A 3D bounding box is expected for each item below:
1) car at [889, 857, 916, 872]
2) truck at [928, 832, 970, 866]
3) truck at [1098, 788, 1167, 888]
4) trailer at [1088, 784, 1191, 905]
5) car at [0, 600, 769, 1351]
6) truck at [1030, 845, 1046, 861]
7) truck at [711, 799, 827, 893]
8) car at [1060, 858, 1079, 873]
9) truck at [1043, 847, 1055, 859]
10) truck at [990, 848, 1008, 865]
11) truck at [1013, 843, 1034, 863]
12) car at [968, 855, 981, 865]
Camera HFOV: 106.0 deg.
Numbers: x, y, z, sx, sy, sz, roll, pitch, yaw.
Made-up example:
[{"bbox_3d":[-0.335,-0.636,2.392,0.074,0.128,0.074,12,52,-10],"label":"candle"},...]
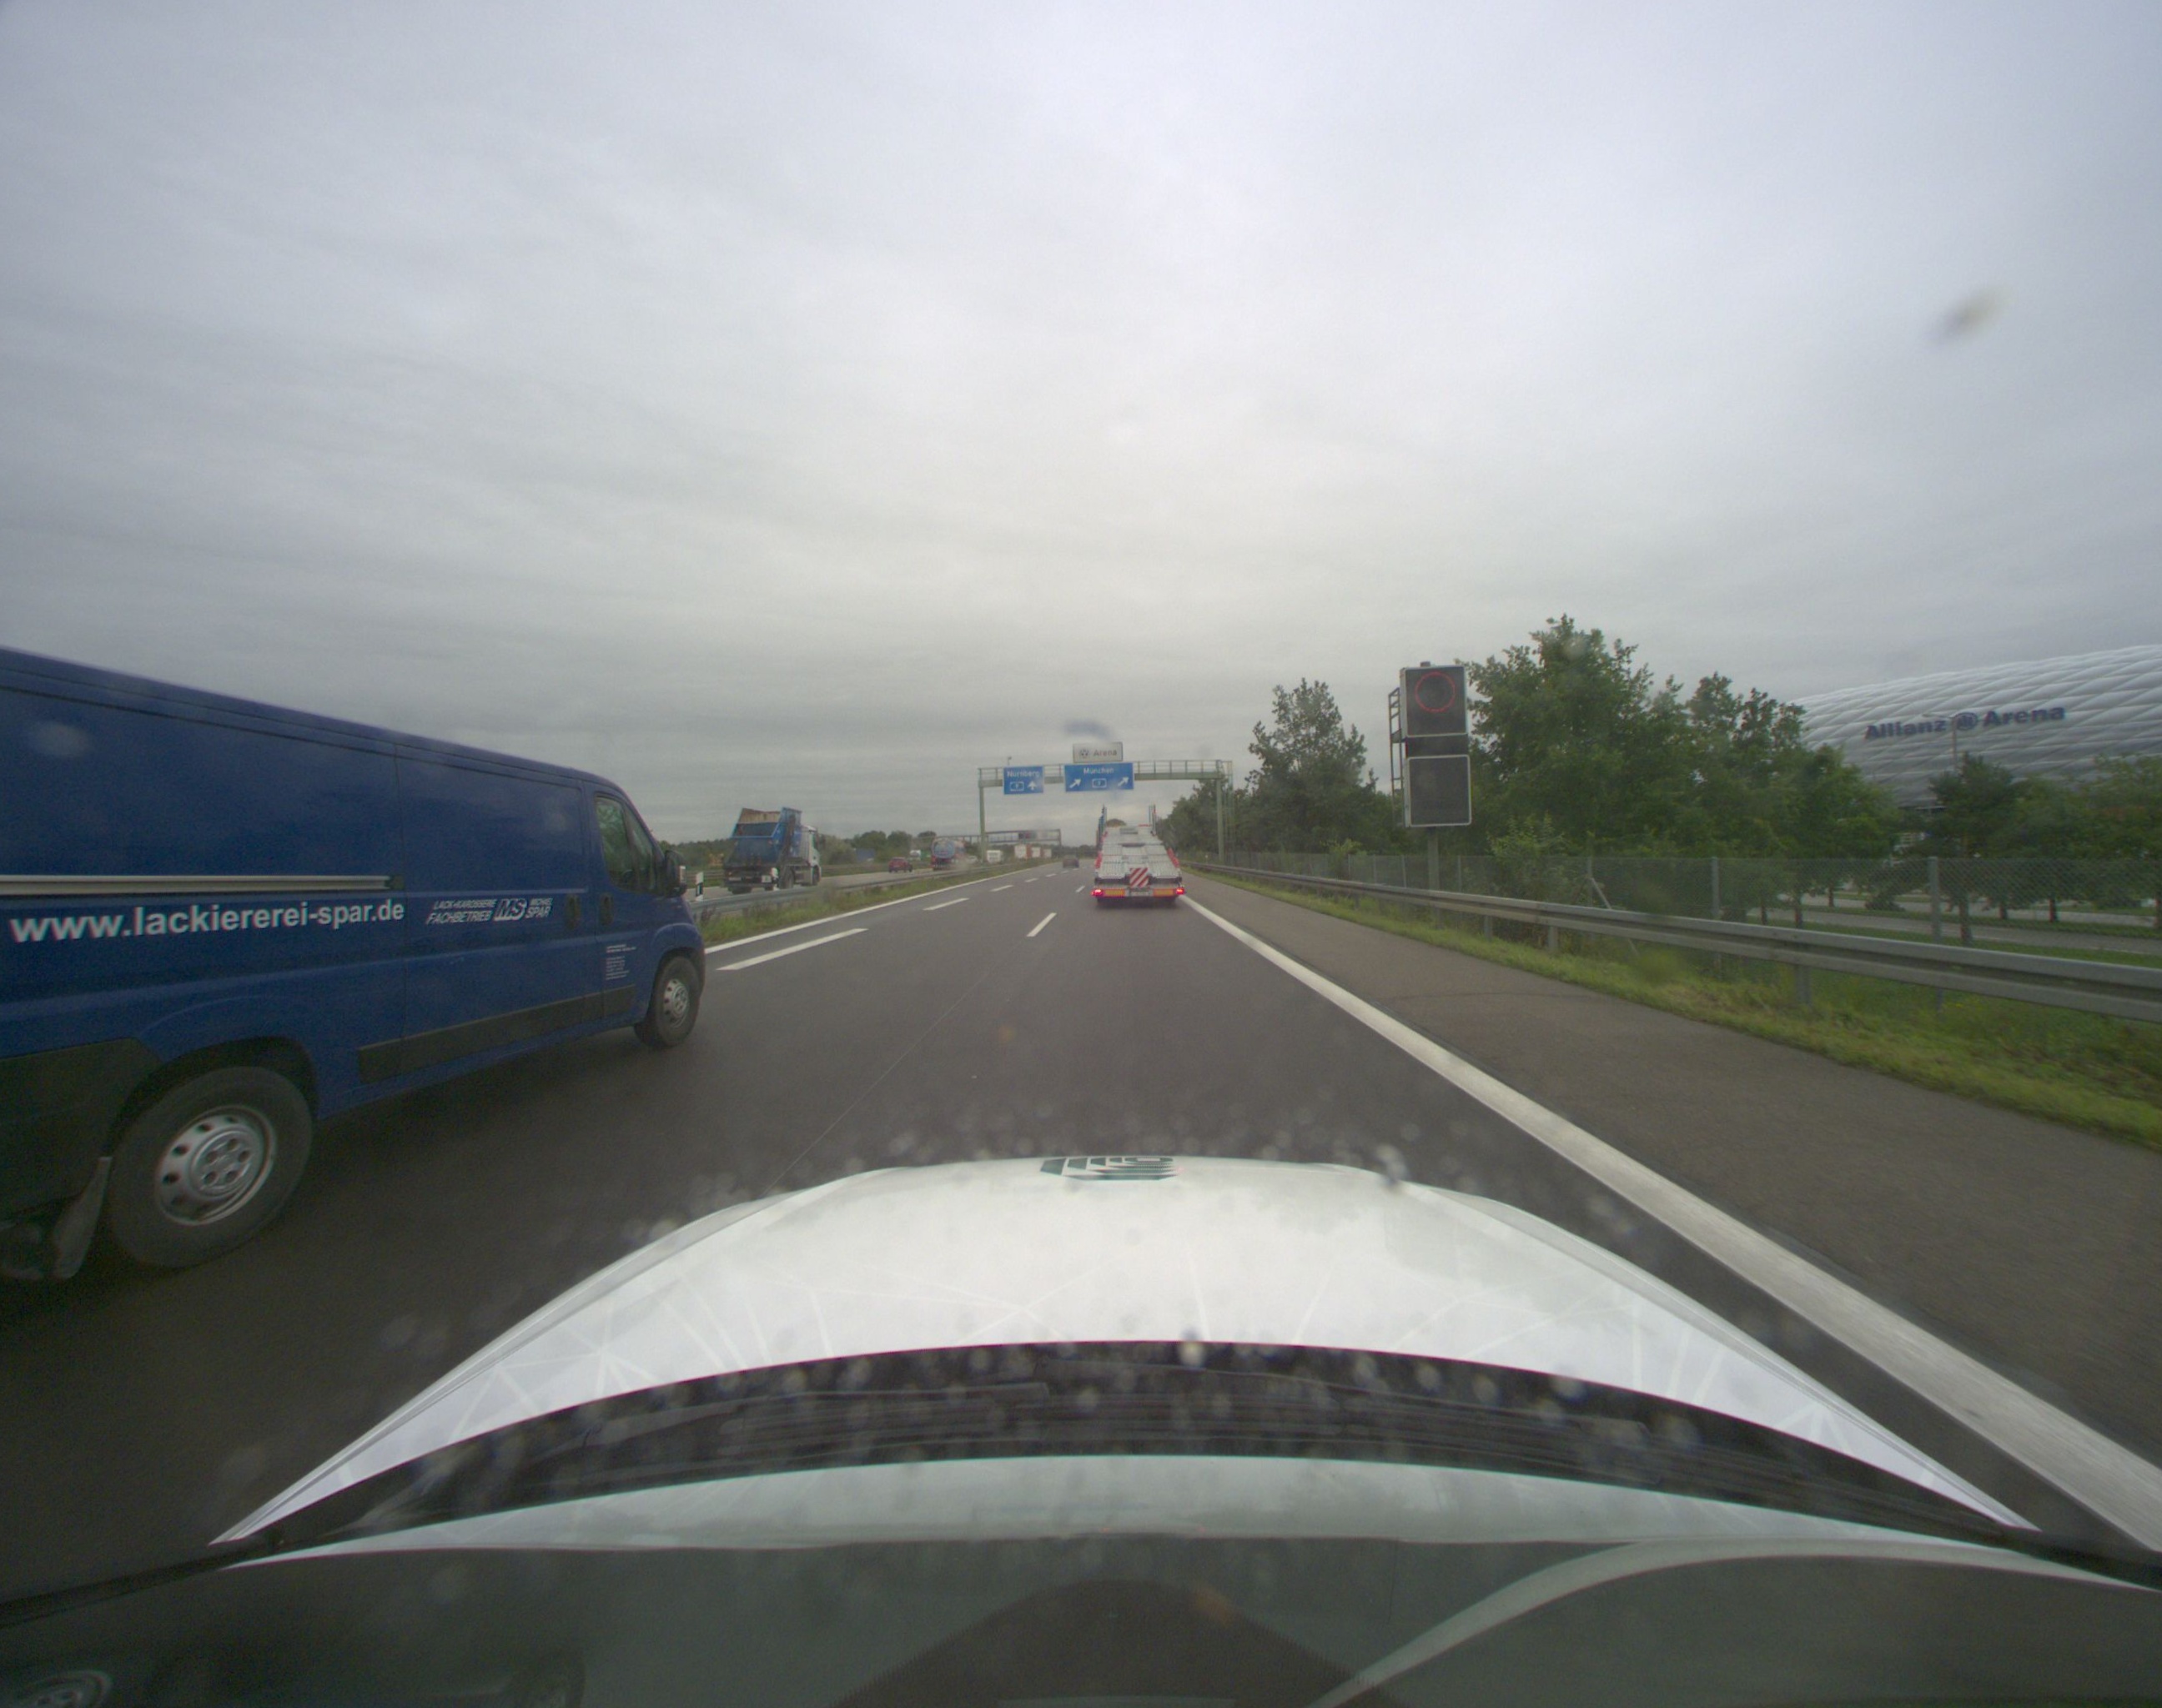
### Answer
[{"bbox_3d":[-18.221,1.066,83.172,1.788,1.557,3.827,0,-1,1],"label":"car"},{"bbox_3d":[-13.990,-0.495,86.867,2.846,3.365,8.633,-1,0,1],"label":"truck"},{"bbox_3d":[2.215,-0.661,37.204,2.728,3.967,9.133,0,0,2],"label":"truck"},{"bbox_3d":[1.829,-0.270,27.431,2.766,3.285,10.413,0,0,2],"label":"trailer"},{"bbox_3d":[-4.396,0.368,5.115,2.364,2.266,6.257,0,0,1],"label":"car"},{"bbox_3d":[-11.867,-0.361,226.246,3.720,4.417,11.899,0,0,1],"label":"truck"},{"bbox_3d":[-13.910,-0.303,37.037,2.631,3.812,7.338,0,-1,-2],"label":"truck"},{"bbox_3d":[-1.325,1.333,94.154,1.954,1.637,5.626,0,-1,1],"label":"car"},{"bbox_3d":[-10.278,-0.361,264.811,3.017,3.685,12.152,0,0,1],"label":"truck"},{"bbox_3d":[-13.242,0.330,131.289,2.235,2.704,5.280,0,0,1],"label":"truck"},{"bbox_3d":[-12.758,-0.233,180.638,3.720,4.417,10.197,0,0,1],"label":"truck"},{"bbox_3d":[-17.520,0.931,133.770,1.678,1.530,3.998,0,0,-1],"label":"car"}]
